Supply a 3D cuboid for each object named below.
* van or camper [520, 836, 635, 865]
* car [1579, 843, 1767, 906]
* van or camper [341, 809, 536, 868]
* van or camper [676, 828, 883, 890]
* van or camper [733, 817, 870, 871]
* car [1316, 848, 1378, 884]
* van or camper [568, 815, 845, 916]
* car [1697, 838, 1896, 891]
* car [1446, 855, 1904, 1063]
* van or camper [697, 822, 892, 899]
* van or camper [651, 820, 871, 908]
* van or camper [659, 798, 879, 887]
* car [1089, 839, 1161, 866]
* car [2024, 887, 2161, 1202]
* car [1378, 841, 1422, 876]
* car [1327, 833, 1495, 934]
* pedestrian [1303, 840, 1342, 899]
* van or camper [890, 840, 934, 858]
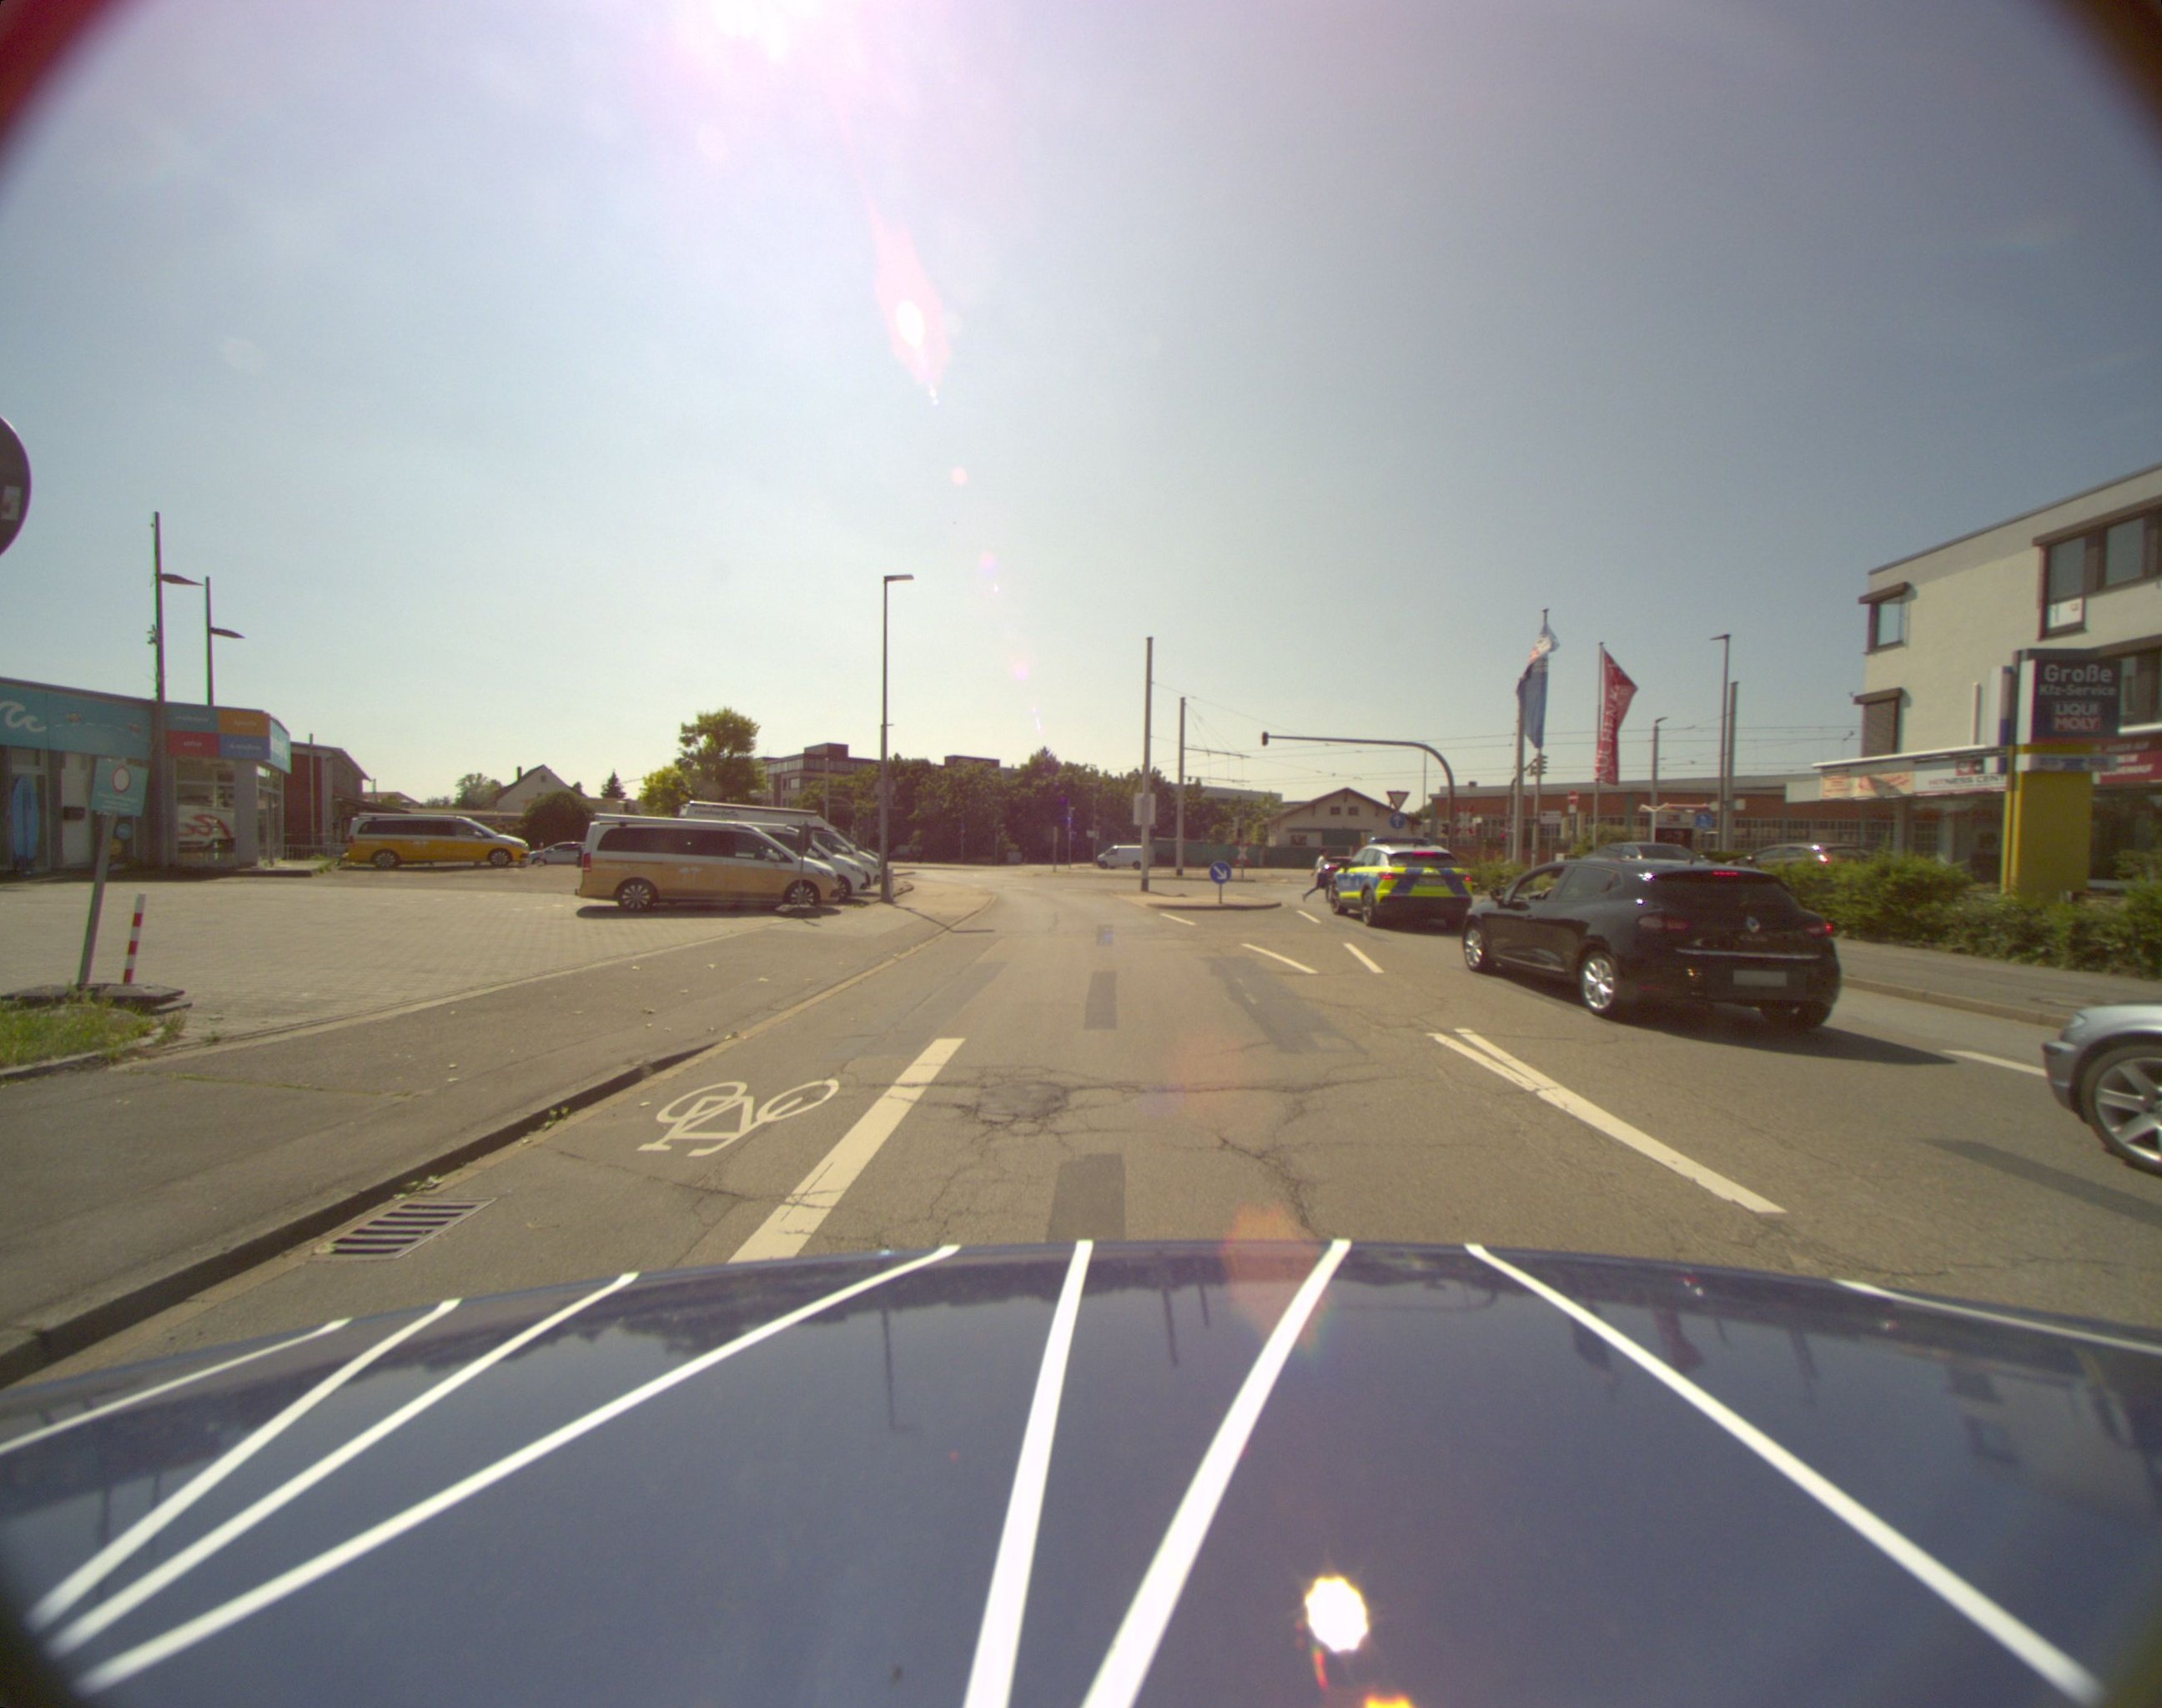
[{"bbox_3d":[-28.967,-0.194,43.852,5.430,1.602,2.287,0,1,-36],"label":"van or camper"},{"bbox_3d":[16.623,0.502,21.733,1.911,1.564,4.819,1,1,5],"label":"car"},{"bbox_3d":[-23.906,-0.538,28.664,5.430,2.027,2.287,0,1,-36],"label":"van or camper"},{"bbox_3d":[-11.321,0.161,28.732,6.861,2.122,2.778,0,1,-32],"label":"van or camper"},{"bbox_3d":[-16.012,-0.568,43.895,6.863,2.868,2.777,0,1,-43],"label":"van or camper"},{"bbox_3d":[11.932,0.518,33.893,1.764,1.445,4.117,-3,-1,31],"label":"car"},{"bbox_3d":[-8.043,0.242,16.694,5.145,1.950,1.981,1,2,-28],"label":"van or camper"},{"bbox_3d":[20.999,0.259,22.621,1.911,1.380,4.486,1,1,5],"label":"car"},{"bbox_3d":[5.493,0.788,7.873,1.664,1.446,4.242,2,1,6],"label":"car"},{"bbox_3d":[-8.571,0.174,22.802,5.148,2.064,2.446,0,1,-30],"label":"van or camper"},{"bbox_3d":[-8.190,0.234,19.623,4.990,2.034,2.037,1,2,-28],"label":"van or camper"},{"bbox_3d":[-10.253,-0.342,25.205,6.375,2.621,2.526,0,1,-34],"label":"van or camper"},{"bbox_3d":[3.606,-0.167,62.872,5.517,2.121,2.217,1,1,27],"label":"car"},{"bbox_3d":[5.694,0.929,1.733,1.746,1.396,4.324,2,1,3],"label":"car"},{"bbox_3d":[18.738,0.226,44.823,1.993,1.935,4.443,1,1,18],"label":"car"},{"bbox_3d":[6.561,0.496,15.687,1.897,1.748,4.354,1,1,5],"label":"car"},{"bbox_3d":[7.049,0.439,22.187,0.995,1.676,0.800,1,1,13],"label":"pedestrian"},{"bbox_3d":[-18.533,-0.561,83.137,2.509,1.817,5.280,0,1,-41],"label":"van or camper"}]
